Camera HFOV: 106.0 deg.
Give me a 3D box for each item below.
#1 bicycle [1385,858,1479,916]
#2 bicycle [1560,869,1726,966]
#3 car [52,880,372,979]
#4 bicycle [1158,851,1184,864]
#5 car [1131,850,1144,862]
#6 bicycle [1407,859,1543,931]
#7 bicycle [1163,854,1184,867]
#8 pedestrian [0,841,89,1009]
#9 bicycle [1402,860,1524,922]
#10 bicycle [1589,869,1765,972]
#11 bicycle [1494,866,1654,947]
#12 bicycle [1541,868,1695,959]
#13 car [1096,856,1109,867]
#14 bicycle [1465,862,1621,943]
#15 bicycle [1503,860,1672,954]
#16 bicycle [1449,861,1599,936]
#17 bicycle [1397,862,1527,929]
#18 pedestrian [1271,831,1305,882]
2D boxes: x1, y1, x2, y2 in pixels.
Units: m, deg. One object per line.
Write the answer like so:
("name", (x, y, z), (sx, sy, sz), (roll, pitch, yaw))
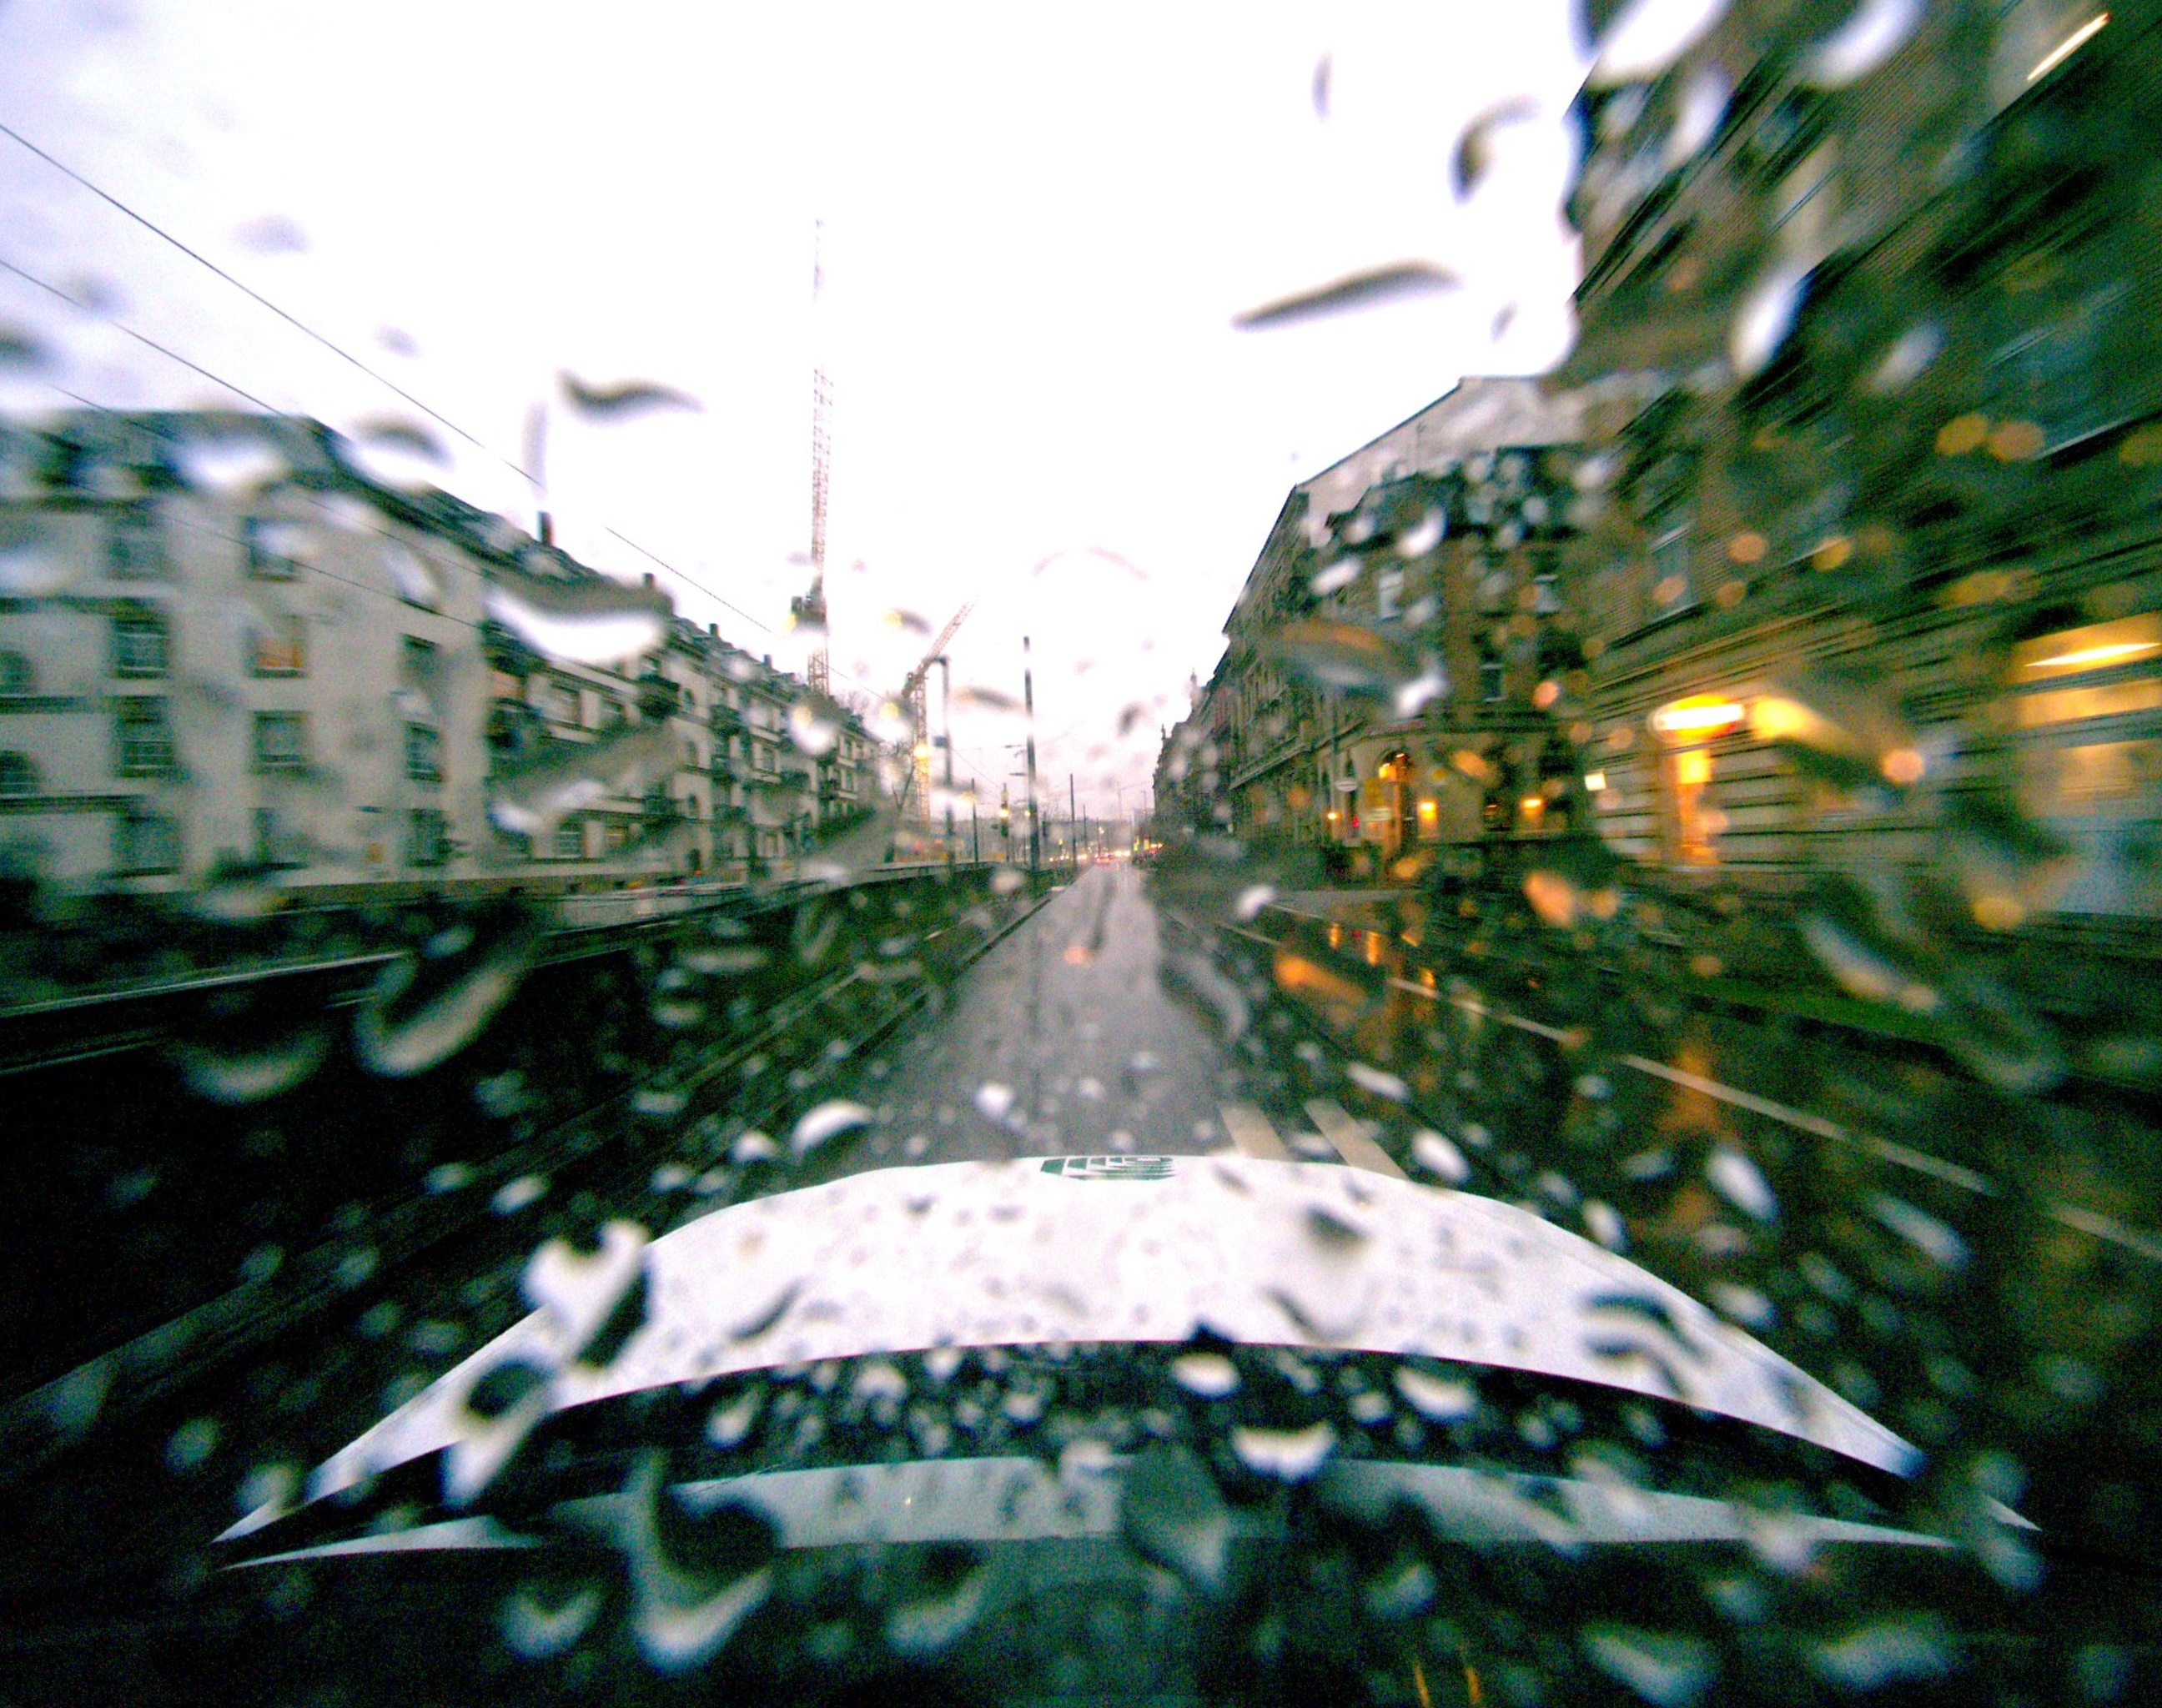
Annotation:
("bicycle", (7.351, 0.670, 17.030), (2.098, 1.052, 0.474), (-4, 0, -25))
("bicycle", (6.891, 0.765, 10.009), (1.724, 1.055, 0.371), (-4, 0, 0))
("car", (-14.641, 1.192, 14.045), (1.676, 1.354, 3.546), (-1, 0, 1))
("bicycle", (7.810, 0.316, 71.002), (2.143, 1.057, 0.525), (-3, 0, -5))
("car", (8.161, 0.260, 117.616), (1.791, 1.604, 3.774), (-3, 0, 4))
("bicycle", (6.935, 0.715, 14.366), (2.137, 1.055, 0.425), (-5, 1, 0))
("bicycle", (8.484, 0.580, 74.876), (1.846, 1.058, 0.471), (-3, 0, -1))
("pedestrian", (-11.680, 0.753, 8.977), (0.802, 1.780, 0.813), (-1, 0, -40))
("bicycle", (7.393, 0.706, 15.792), (2.081, 1.052, 0.478), (-4, 0, 0))
("bicycle", (6.937, 0.761, 9.507), (1.724, 1.055, 0.371), (-4, 0, 0))
("bicycle", (7.113, 0.749, 11.785), (2.001, 0.971, 0.425), (-5, 0, 0))
("bicycle", (7.031, 0.768, 10.690), (1.724, 1.055, 0.371), (-4, 0, 0))
("car", (3.200, 1.121, 119.109), (1.776, 1.467, 3.151), (-3, 0, 3))
("bicycle", (7.181, 0.744, 12.694), (2.137, 1.055, 0.425), (-5, 1, 0))
("bicycle", (7.023, 0.722, 11.326), (2.001, 1.095, 0.425), (-5, 0, 0))
("bicycle", (7.213, 0.713, 13.307), (2.137, 1.055, 0.484), (-4, 0, 0))
("bicycle", (6.934, 0.753, 14.867), (2.081, 1.052, 0.478), (-4, 0, 0))
("pedestrian", (8.309, 0.102, 32.711), (0.858, 2.013, 0.910), (-2, 0, -28))
